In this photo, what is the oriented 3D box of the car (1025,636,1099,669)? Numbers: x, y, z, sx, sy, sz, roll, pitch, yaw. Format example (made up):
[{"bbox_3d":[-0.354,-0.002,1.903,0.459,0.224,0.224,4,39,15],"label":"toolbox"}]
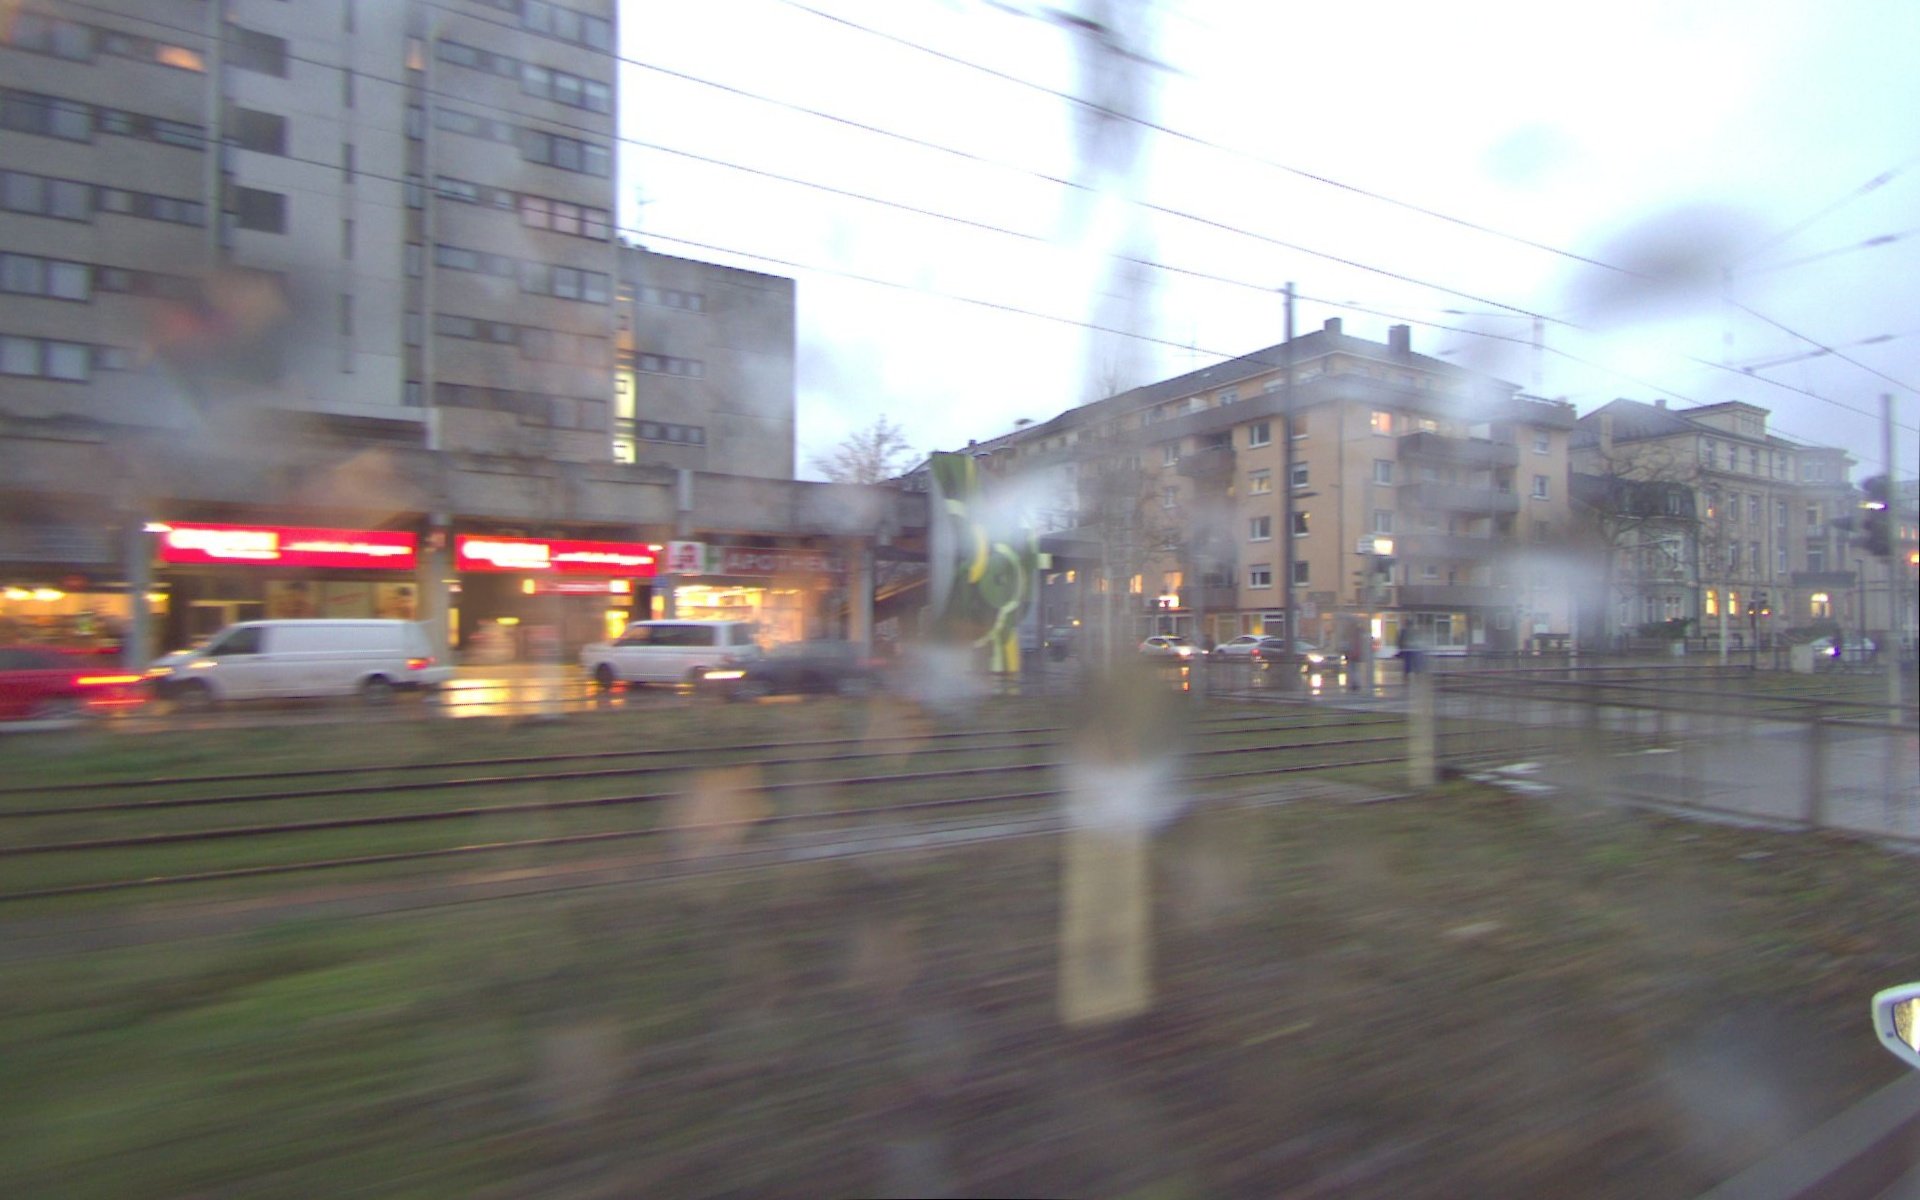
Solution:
[{"bbox_3d":[5.366,2.731,52.575,3.596,1.622,1.610,1,-1,-29],"label":"car"}]

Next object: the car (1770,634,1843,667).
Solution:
[{"bbox_3d":[44.928,2.672,53.315,3.954,1.606,1.792,2,0,-31],"label":"car"}]

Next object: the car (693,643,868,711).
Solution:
[{"bbox_3d":[-4.208,1.761,23.715,3.725,1.468,1.664,1,-2,-31],"label":"car"}]

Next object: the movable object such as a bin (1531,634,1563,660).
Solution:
[{"bbox_3d":[35.399,2.832,60.581,1.409,1.581,1.101,1,-2,-33],"label":"movable object such as a bin"}]

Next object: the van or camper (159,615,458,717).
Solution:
[{"bbox_3d":[-14.802,1.424,23.268,5.587,2.125,1.984,1,-1,-30],"label":"van or camper"}]

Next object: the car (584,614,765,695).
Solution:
[{"bbox_3d":[-8.055,1.494,28.494,4.480,2.040,2.001,2,0,13],"label":"car"}]

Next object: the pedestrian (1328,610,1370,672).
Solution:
[{"bbox_3d":[9.649,1.019,24.926,0.625,1.509,0.784,1,-1,-37],"label":"pedestrian"}]

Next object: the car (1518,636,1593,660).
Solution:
[{"bbox_3d":[39.706,3.208,67.062,1.812,1.425,3.966,2,-1,-31],"label":"car"}]

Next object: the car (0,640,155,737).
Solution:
[{"bbox_3d":[-16.020,1.444,16.724,3.846,1.532,1.741,1,-2,-31],"label":"car"}]

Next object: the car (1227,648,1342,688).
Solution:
[{"bbox_3d":[14.209,2.932,43.935,4.614,1.566,1.999,0,-1,24],"label":"car"}]

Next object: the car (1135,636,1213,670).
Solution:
[{"bbox_3d":[11.136,2.738,52.557,1.667,1.531,3.964,2,0,-32],"label":"car"}]

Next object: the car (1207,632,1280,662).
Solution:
[{"bbox_3d":[15.738,2.590,55.960,1.757,1.572,3.807,1,-2,-31],"label":"car"}]
